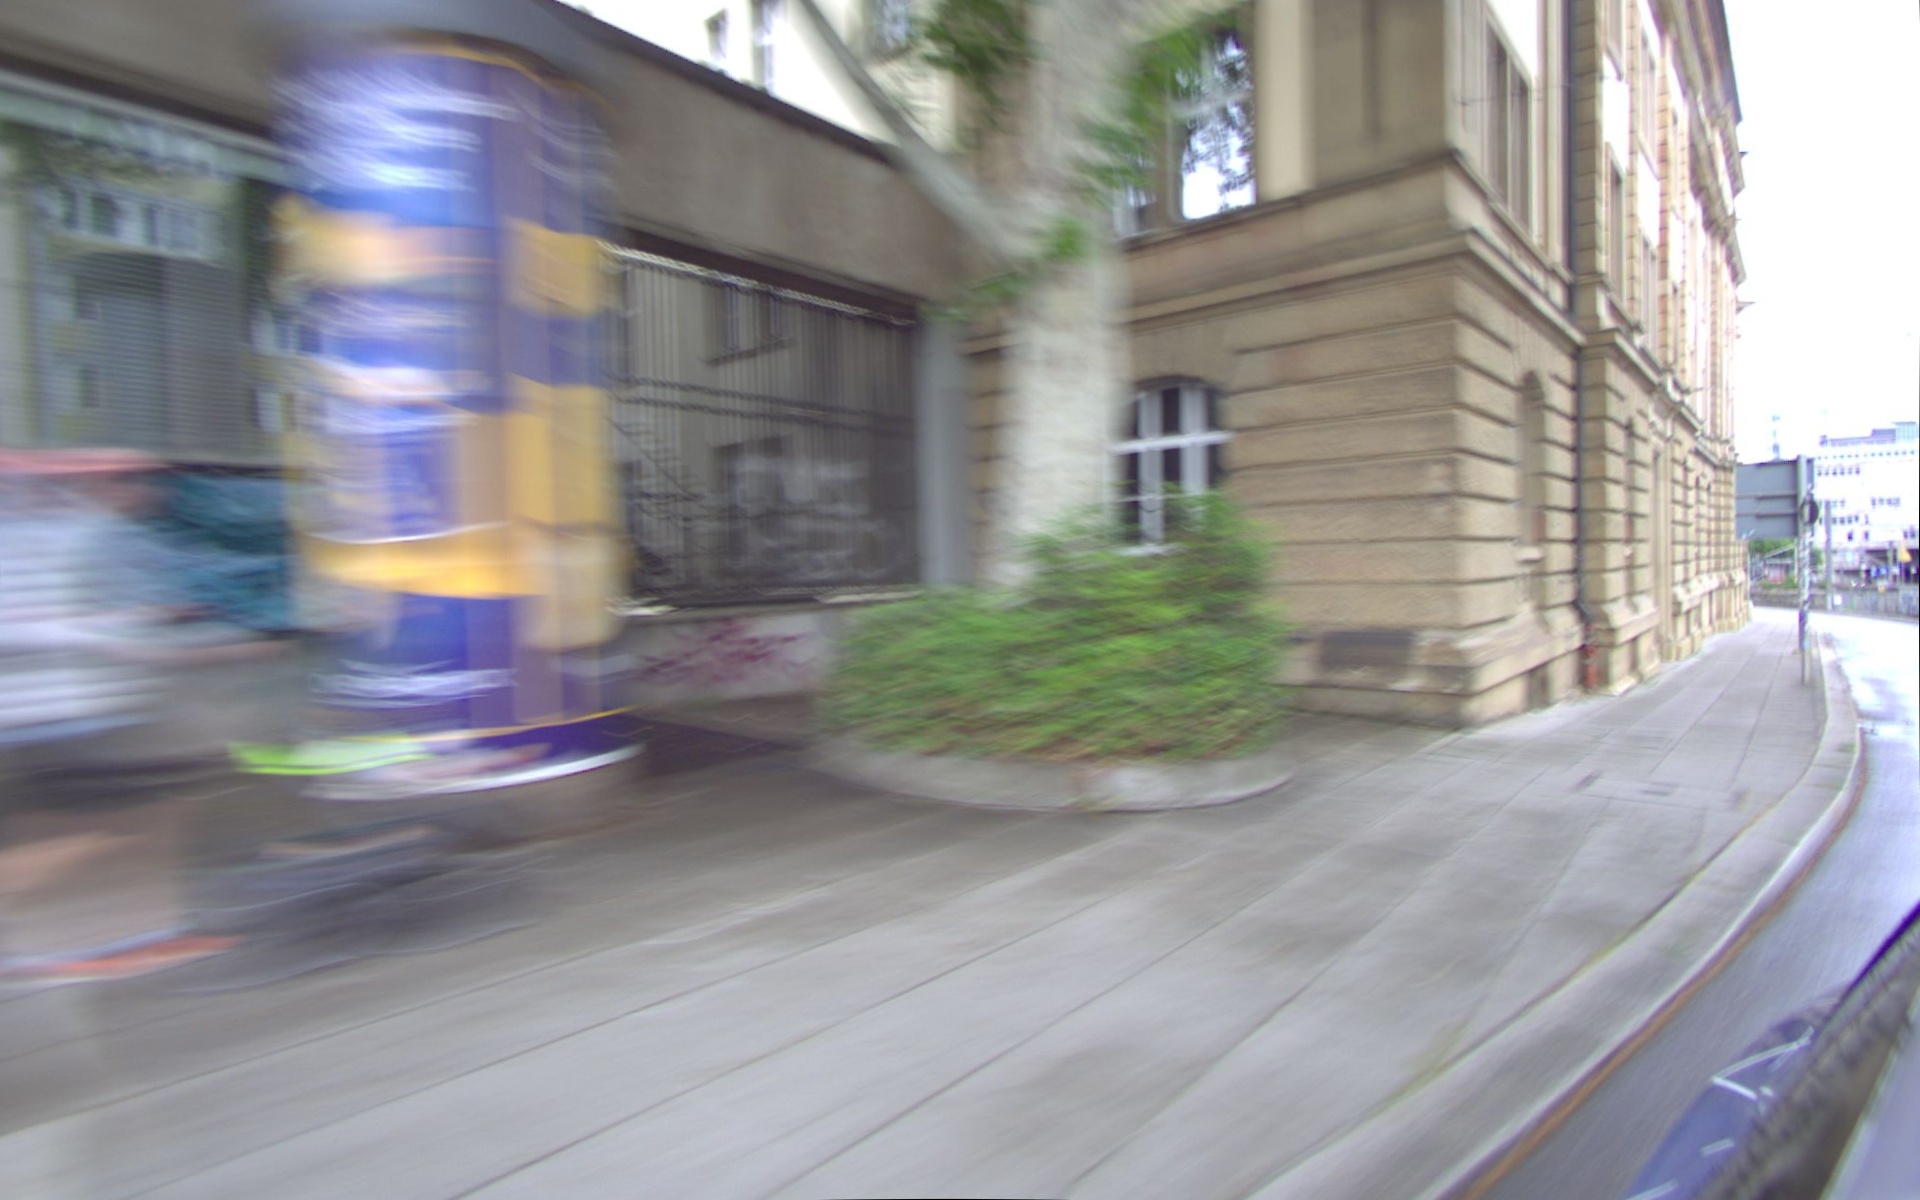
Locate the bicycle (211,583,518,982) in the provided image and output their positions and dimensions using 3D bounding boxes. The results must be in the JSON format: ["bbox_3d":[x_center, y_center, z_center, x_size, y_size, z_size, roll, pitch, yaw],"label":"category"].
[{"bbox_3d":[-2.153,0.566,3.674,0.893,1.236,0.621,0,1,-36],"label":"bicycle"}]

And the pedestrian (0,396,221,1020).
[{"bbox_3d":[-2.920,0.293,3.137,1.000,1.763,0.720,0,2,-36],"label":"pedestrian"}]
